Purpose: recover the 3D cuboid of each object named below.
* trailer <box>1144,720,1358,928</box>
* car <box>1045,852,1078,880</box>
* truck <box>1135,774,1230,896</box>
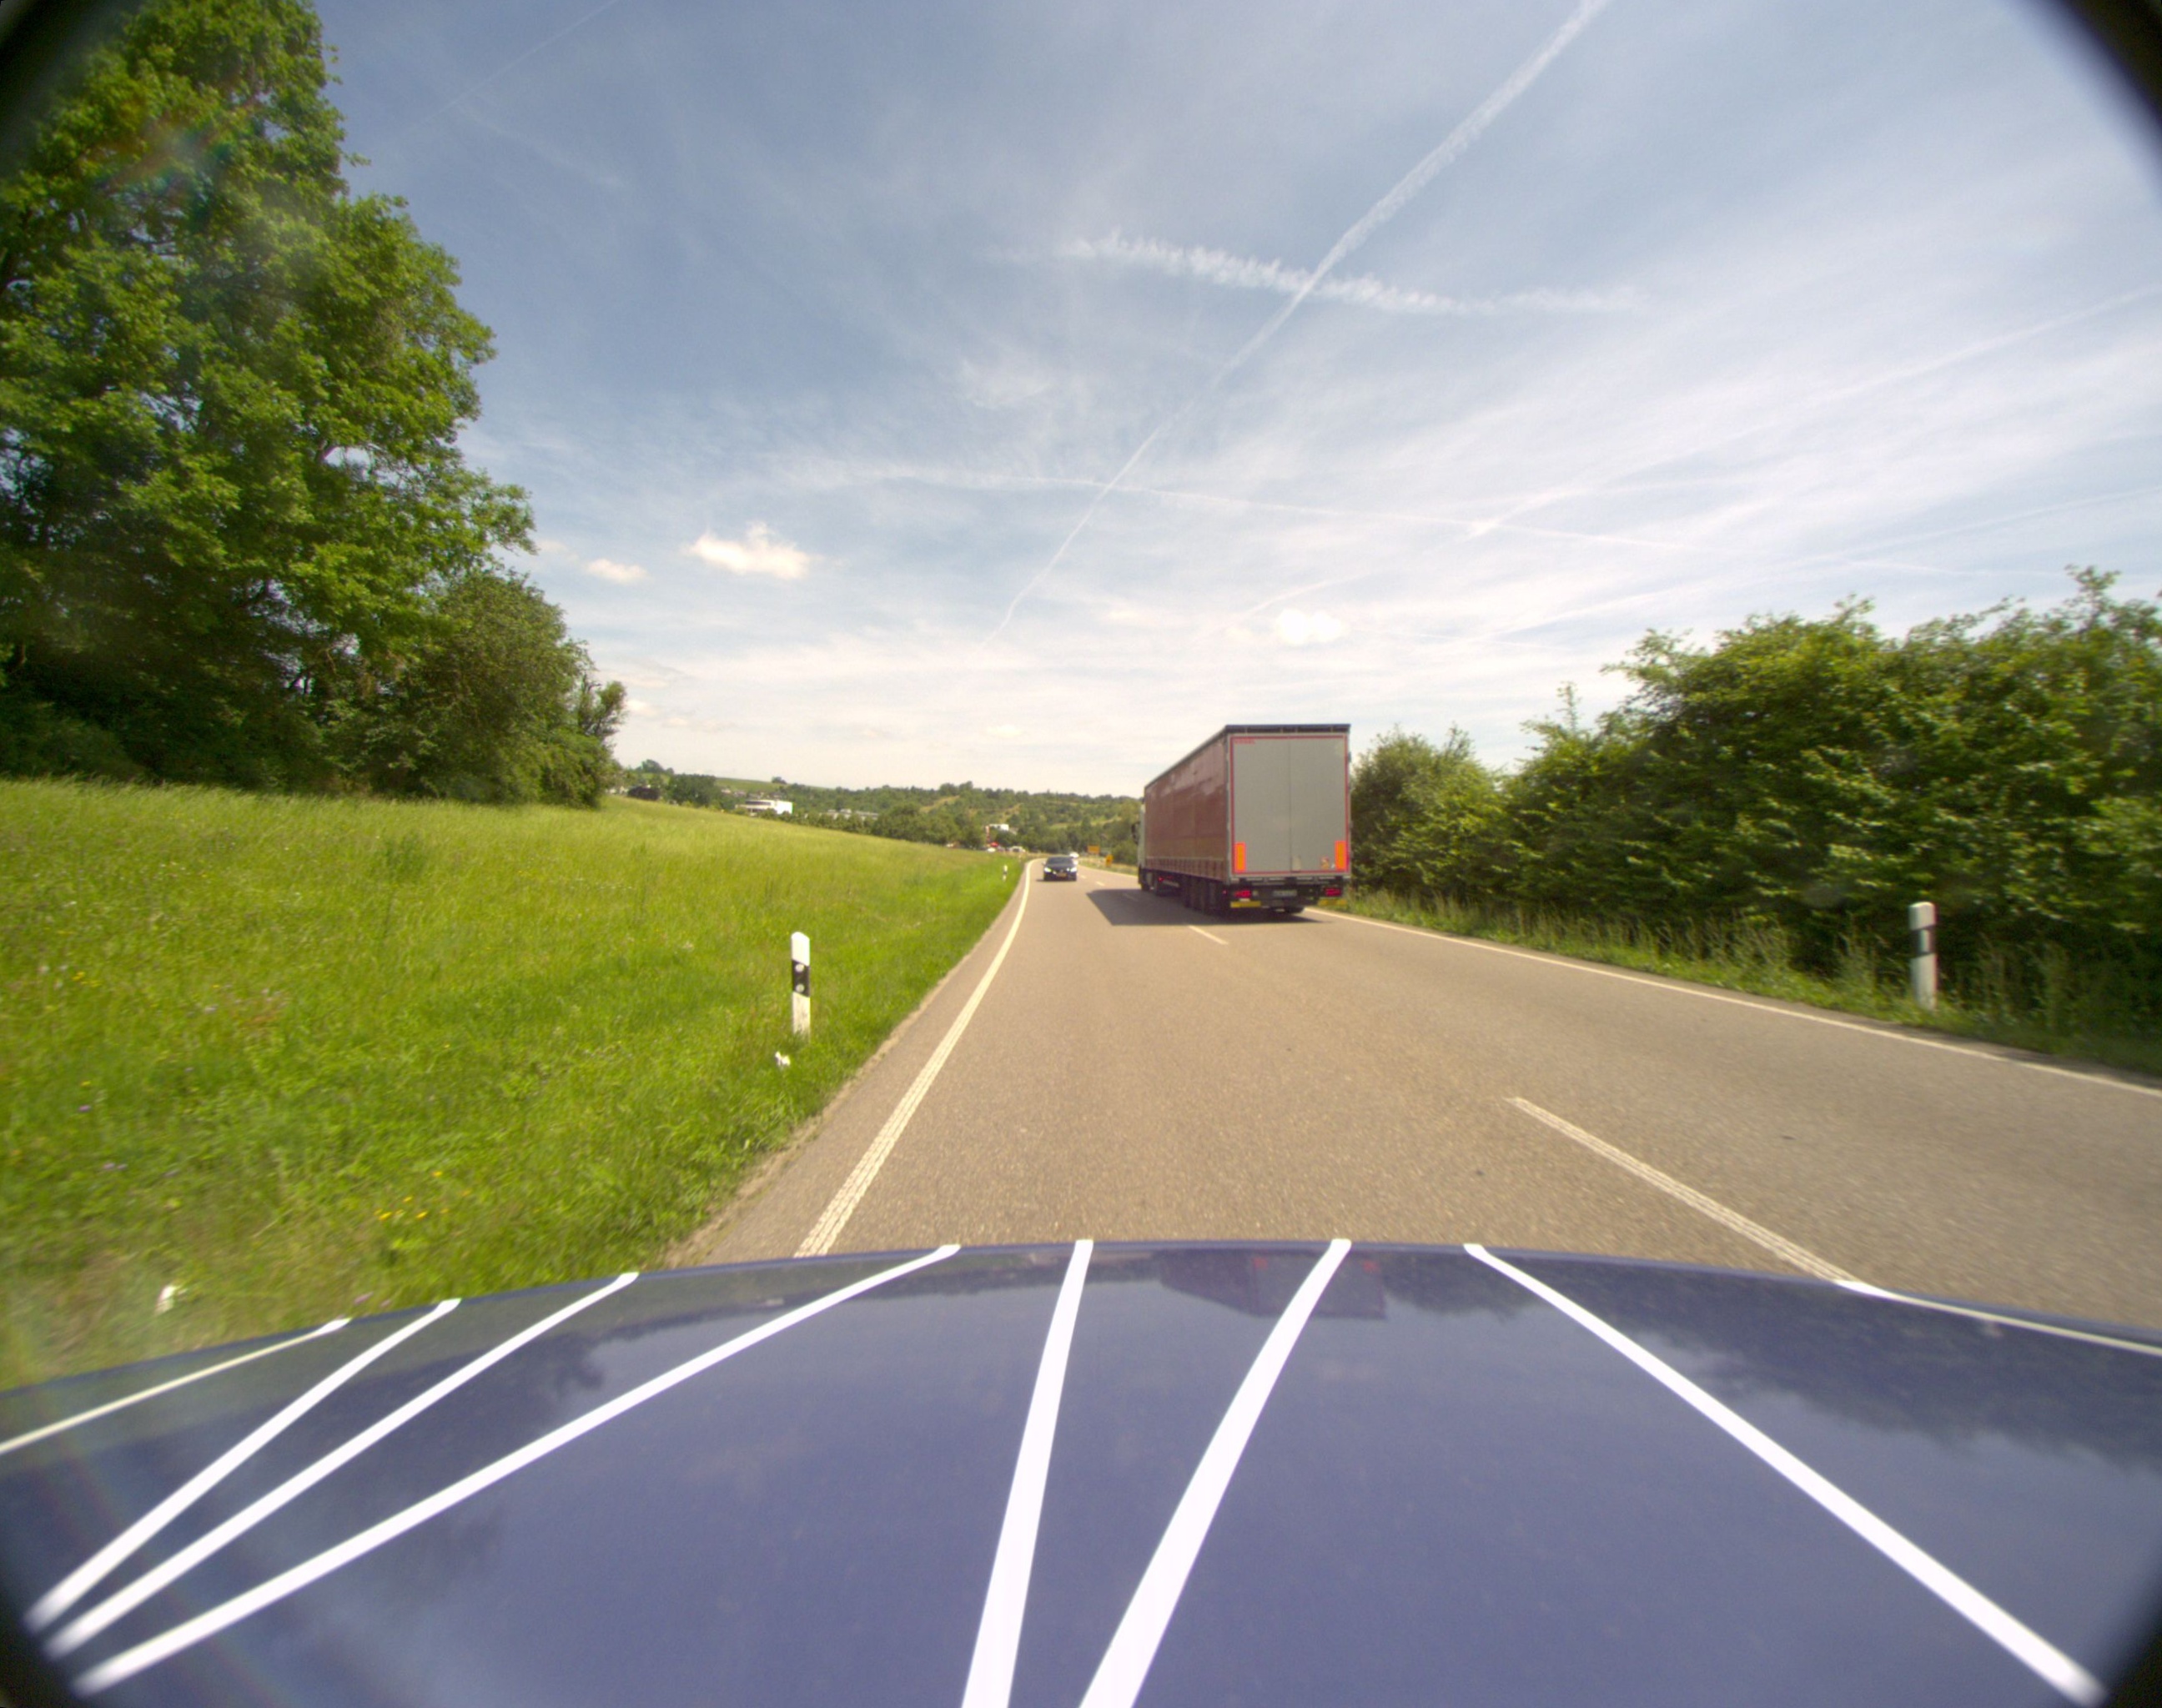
[{"bbox_3d":[3.967,-0.627,22.011,2.575,4.084,13.658,-1,0,-2],"label":"trailer"},{"bbox_3d":[-1.154,0.656,43.322,1.786,1.440,4.602,0,1,-3],"label":"car"},{"bbox_3d":[3.675,-0.654,28.881,2.566,4.091,5.798,-1,0,-2],"label":"truck"}]
